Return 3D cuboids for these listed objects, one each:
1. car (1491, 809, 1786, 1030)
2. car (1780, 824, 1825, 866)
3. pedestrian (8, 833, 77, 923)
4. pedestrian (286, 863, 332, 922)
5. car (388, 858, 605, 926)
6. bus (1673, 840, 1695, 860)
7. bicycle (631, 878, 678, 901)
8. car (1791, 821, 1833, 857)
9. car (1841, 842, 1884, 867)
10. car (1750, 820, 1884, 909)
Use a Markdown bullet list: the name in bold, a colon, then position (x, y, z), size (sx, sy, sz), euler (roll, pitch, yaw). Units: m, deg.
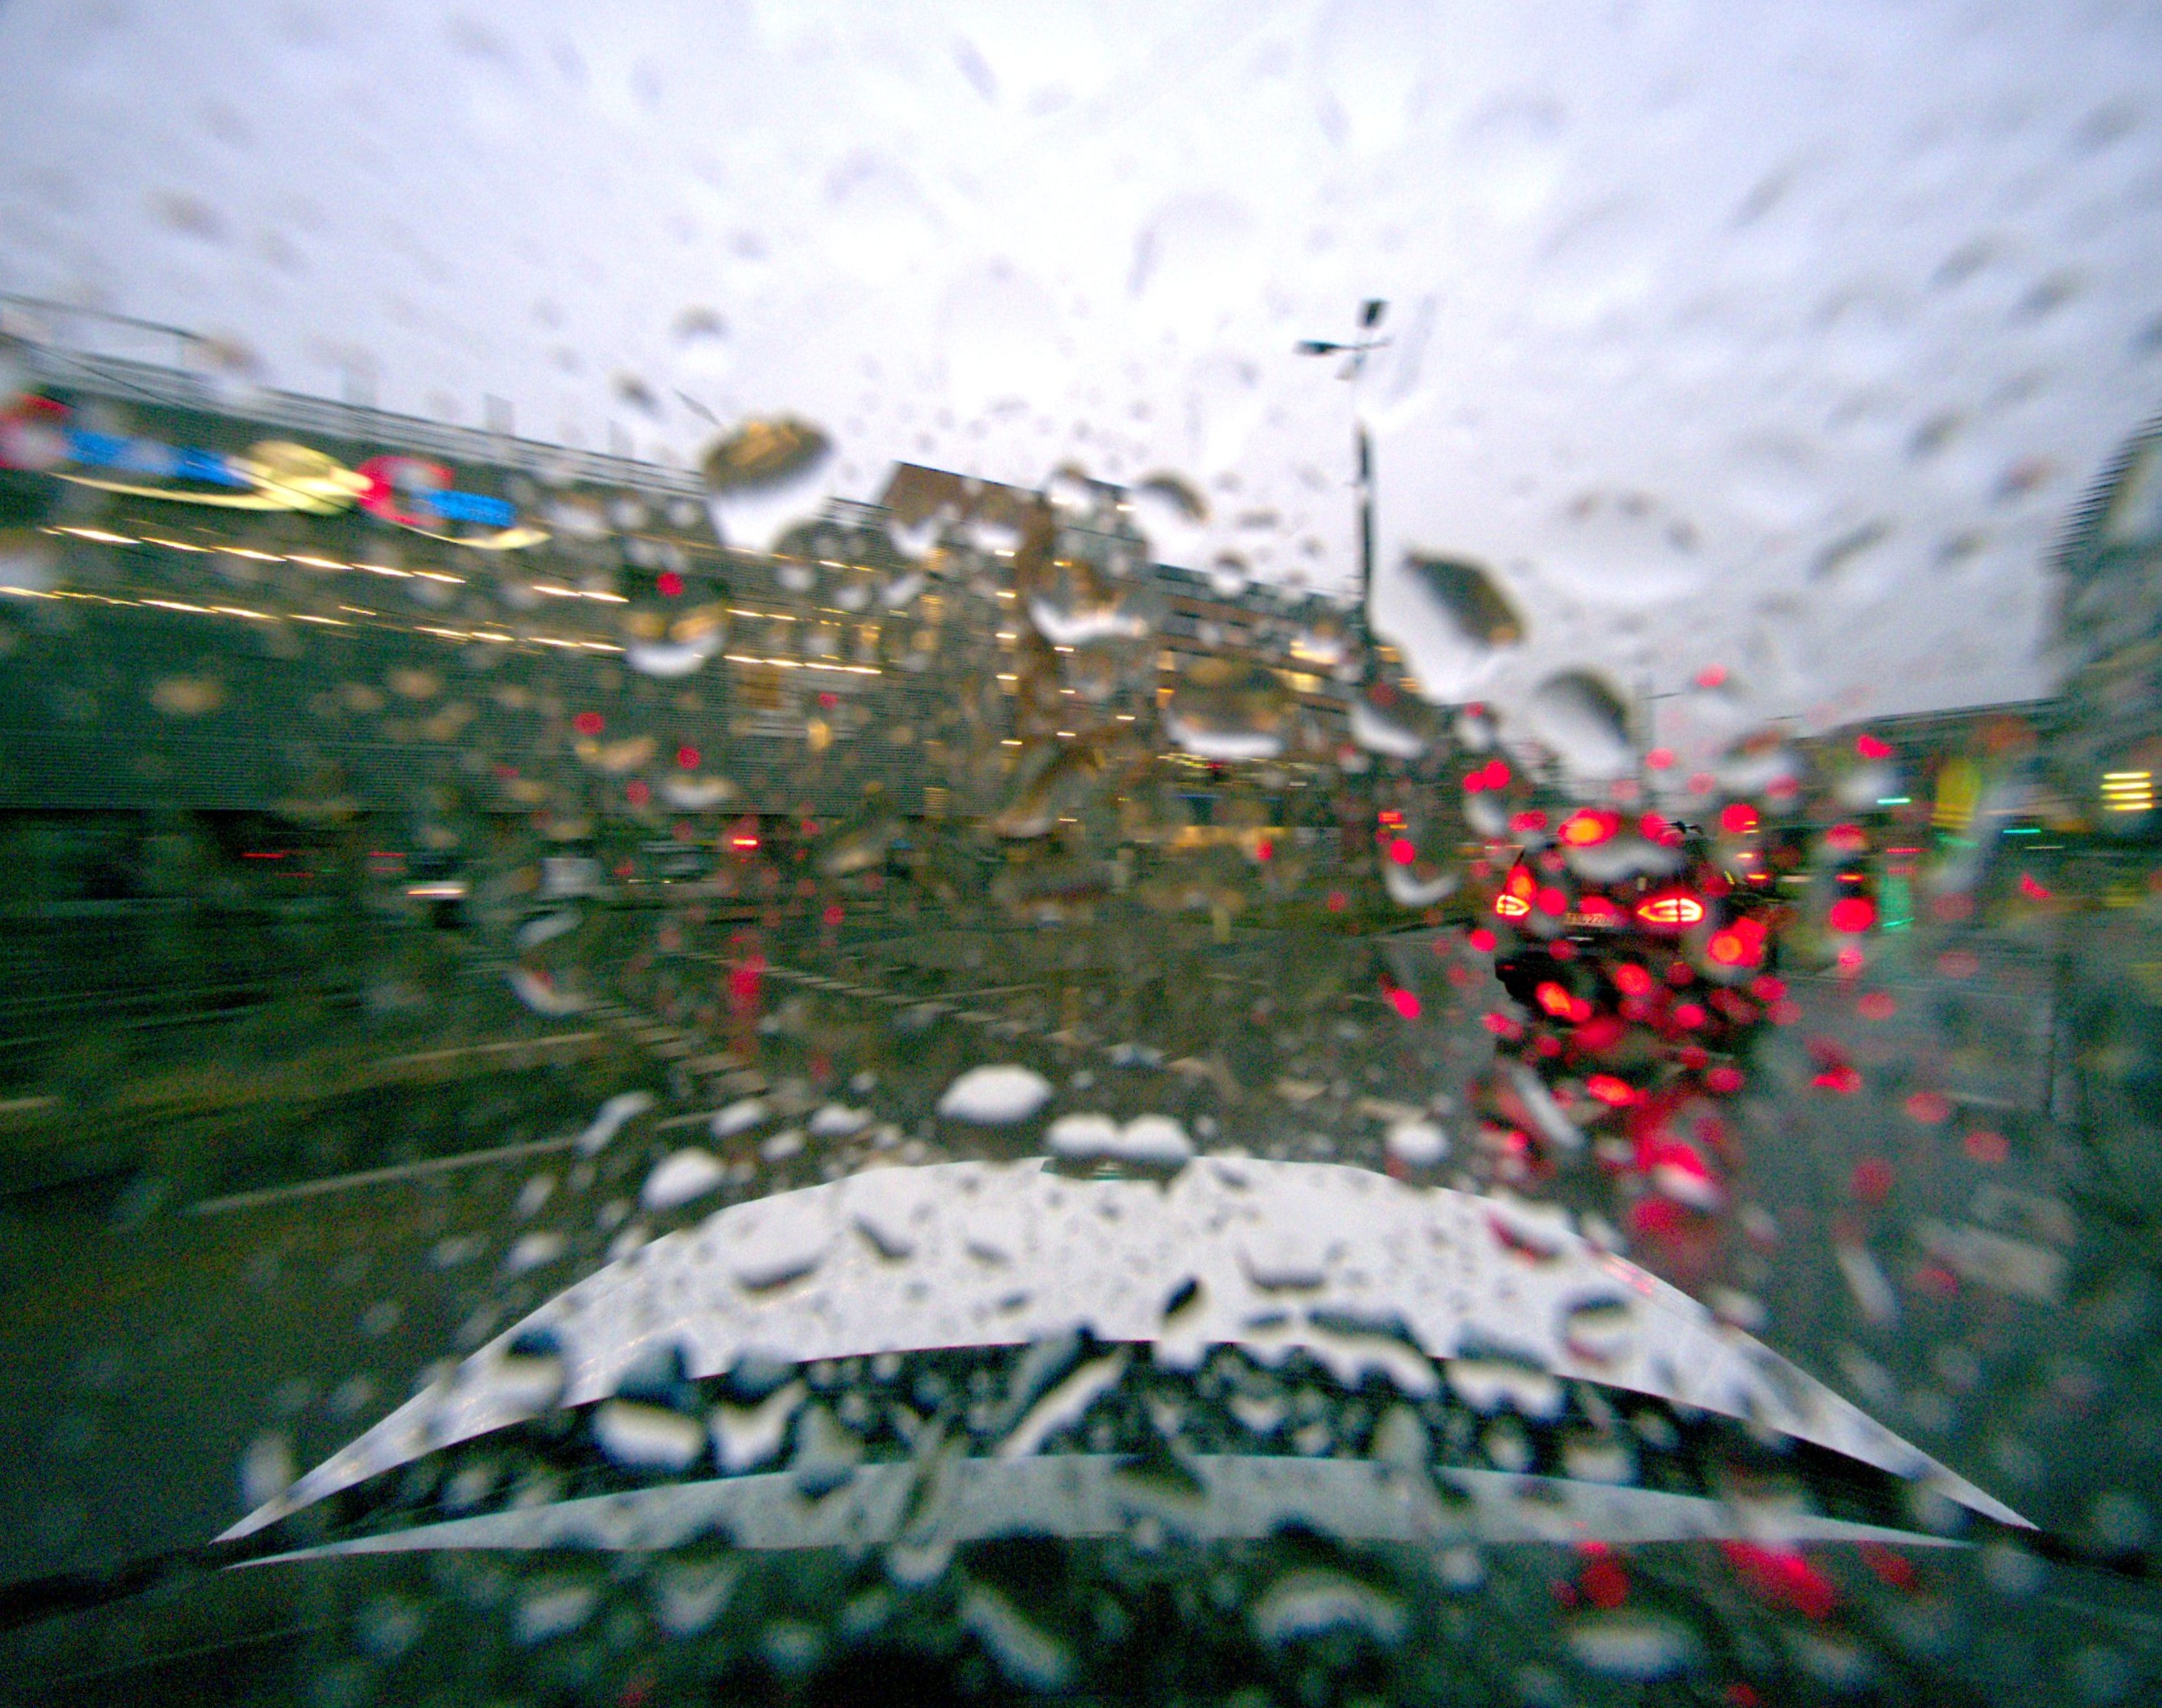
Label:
- **car**: position (5.979, 0.523, 8.543), size (4.022, 1.779, 1.659), euler (-1, -1, -43)
- **car**: position (45.308, -0.555, 51.109), size (1.975, 2.427, 6.010), euler (-2, -1, 42)
- **pedestrian**: position (-34.665, 0.795, 27.199), size (0.968, 2.925, 1.104), euler (1, -2, -27)
- **pedestrian**: position (-32.397, 1.590, 34.185), size (1.116, 2.439, 0.957), euler (1, -2, -27)
- **car**: position (-16.459, 0.999, 23.215), size (1.905, 1.719, 4.638), euler (-2, -1, 29)
- **bus**: position (111.001, -0.716, 149.942), size (2.796, 3.372, 8.051), euler (-2, -1, 34)
- **bicycle**: position (-22.017, 1.831, 42.074), size (2.096, 1.122, 0.473), euler (0, -2, -28)
- **car**: position (61.229, -1.224, 68.148), size (2.333, 2.827, 6.396), euler (-2, -1, 44)
- **car**: position (45.506, 0.009, 47.401), size (3.754, 1.361, 1.625), euler (-1, -1, -44)
- **car**: position (16.908, 0.208, 18.637), size (4.511, 1.806, 1.827), euler (-1, -1, -42)
